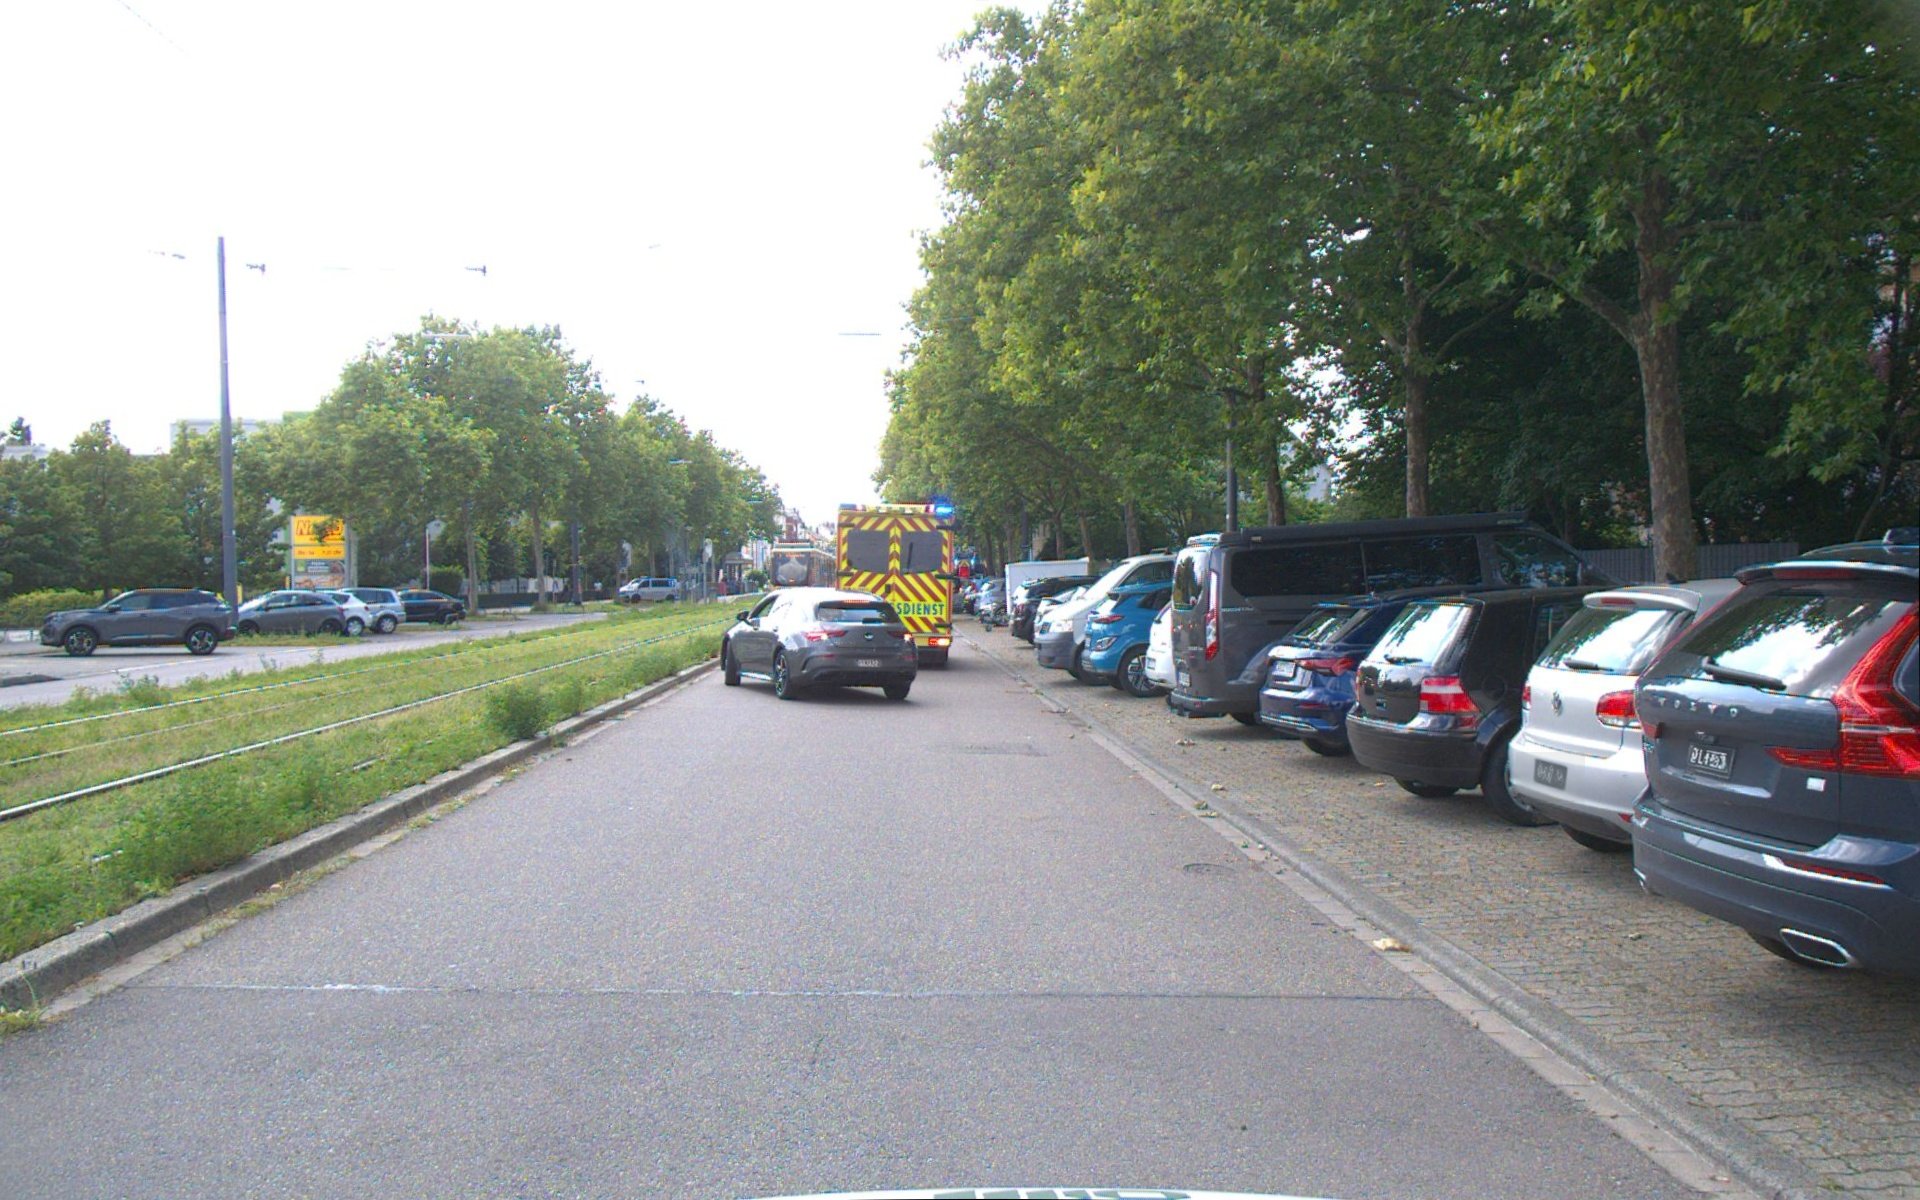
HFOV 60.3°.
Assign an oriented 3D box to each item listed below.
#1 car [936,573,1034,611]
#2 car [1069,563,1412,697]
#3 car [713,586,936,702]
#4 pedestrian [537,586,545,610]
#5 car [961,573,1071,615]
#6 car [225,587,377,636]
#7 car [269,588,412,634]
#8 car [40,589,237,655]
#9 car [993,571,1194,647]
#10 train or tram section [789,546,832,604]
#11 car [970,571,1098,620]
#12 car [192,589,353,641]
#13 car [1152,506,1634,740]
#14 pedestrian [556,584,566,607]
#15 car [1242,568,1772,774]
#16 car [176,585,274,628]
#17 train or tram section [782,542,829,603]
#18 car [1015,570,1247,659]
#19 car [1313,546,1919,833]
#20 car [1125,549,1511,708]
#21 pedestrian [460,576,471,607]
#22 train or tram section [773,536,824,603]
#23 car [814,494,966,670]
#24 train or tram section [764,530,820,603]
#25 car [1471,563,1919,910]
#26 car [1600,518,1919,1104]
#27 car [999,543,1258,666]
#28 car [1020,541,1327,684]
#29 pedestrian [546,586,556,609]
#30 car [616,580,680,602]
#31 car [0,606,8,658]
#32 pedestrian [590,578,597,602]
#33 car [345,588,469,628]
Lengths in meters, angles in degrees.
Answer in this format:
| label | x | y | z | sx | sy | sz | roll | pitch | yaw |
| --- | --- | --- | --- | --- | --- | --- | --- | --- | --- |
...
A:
| label | x | y | z | sx | sy | sz | roll | pitch | yaw |
| --- | --- | --- | --- | --- | --- | --- | --- | --- | --- |
| car | 1.191 | -0.397 | 78.903 | 4.458 | 1.636 | 1.853 | -2 | 1 | -6 |
| car | 3.932 | 0.390 | 23.590 | 4.459 | 1.689 | 1.853 | -2 | 0 | -7 |
| car | -1.997 | 0.542 | 22.951 | 1.737 | 1.409 | 4.435 | 1 | 0 | -24 |
| pedestrian | -25.928 | -0.116 | 102.261 | 0.413 | 1.499 | 0.467 | -1 | 0 | -7 |
| car | 2.357 | -0.275 | 70.715 | 4.458 | 1.636 | 1.853 | -2 | 1 | -6 |
| car | -21.073 | 0.356 | 52.981 | 4.192 | 1.508 | 1.857 | 0 | 0 | -39 |
| car | -20.955 | 0.345 | 56.018 | 4.192 | 1.508 | 1.857 | 0 | 0 | -39 |
| car | -19.807 | 0.505 | 39.995 | 4.172 | 1.508 | 1.867 | 0 | 0 | -28 |
| car | 3.136 | 0.200 | 39.323 | 4.458 | 1.636 | 1.853 | -2 | 1 | -6 |
| train or tram section | -9.974 | -1.627 | 110.983 | 2.462 | 3.646 | 7.441 | -2 | 0 | -3 |
| car | 2.695 | -0.179 | 60.874 | 4.458 | 1.636 | 1.853 | -2 | 1 | -6 |
| car | -20.806 | 0.447 | 50.094 | 4.192 | 1.508 | 1.857 | 0 | 0 | -39 |
| car | 4.373 | 0.206 | 17.153 | 4.455 | 2.160 | 1.855 | -2 | 0 | -3 |
| pedestrian | -27.601 | -0.328 | 114.420 | 0.620 | 1.578 | 0.621 | -1 | 0 | -9 |
| car | 4.525 | 0.555 | 14.049 | 3.887 | 1.520 | 1.755 | -2 | 0 | -3 |
| car | -32.494 | 0.263 | 73.086 | 3.912 | 1.780 | 1.997 | 2 | 1 | 29 |
| train or tram section | -9.642 | -1.651 | 103.551 | 2.462 | 3.646 | 7.441 | -2 | 0 | -3 |
| car | 3.491 | 0.275 | 34.179 | 4.458 | 1.636 | 1.853 | -2 | 1 | -6 |
| car | 4.575 | 0.510 | 11.197 | 3.897 | 1.633 | 1.750 | -2 | 1 | -13 |
| car | 4.474 | 0.335 | 21.079 | 4.455 | 1.797 | 1.855 | -2 | 0 | -3 |
| pedestrian | -27.348 | -0.451 | 91.440 | 0.457 | 1.706 | 0.603 | -1 | 0 | -4 |
| train or tram section | -9.303 | -1.675 | 96.117 | 2.462 | 3.646 | 7.441 | -2 | 0 | -3 |
| car | -1.282 | -0.343 | 32.519 | 2.588 | 3.018 | 6.298 | 2 | 0 | -1 |
| train or tram section | -8.957 | -1.700 | 88.697 | 2.462 | 3.646 | 7.441 | -2 | 0 | -3 |
| car | 4.854 | 0.579 | 8.480 | 3.887 | 1.520 | 1.755 | -2 | 0 | -3 |
| car | 4.676 | 0.532 | 5.636 | 4.292 | 1.668 | 1.756 | -2 | 0 | -1 |
| car | 3.077 | 0.065 | 30.686 | 4.458 | 2.079 | 1.853 | -2 | 0 | -6 |
| car | 3.310 | 0.175 | 26.100 | 4.458 | 2.035 | 1.853 | -2 | 0 | -6 |
| pedestrian | -25.735 | -0.149 | 104.147 | 0.412 | 1.439 | 0.467 | -1 | 0 | 22 |
| car | -24.232 | -0.697 | 128.651 | 4.588 | 1.661 | 1.855 | -2 | 1 | -42 |
| car | -31.171 | 0.932 | 49.825 | 3.905 | 1.592 | 1.777 | 1 | 0 | 0 |
| pedestrian | -28.060 | -0.762 | 126.743 | 0.457 | 1.860 | 0.422 | -1 | 0 | -4 |
| car | -21.445 | 0.301 | 64.206 | 4.199 | 1.508 | 1.854 | 0 | 0 | -42 |
